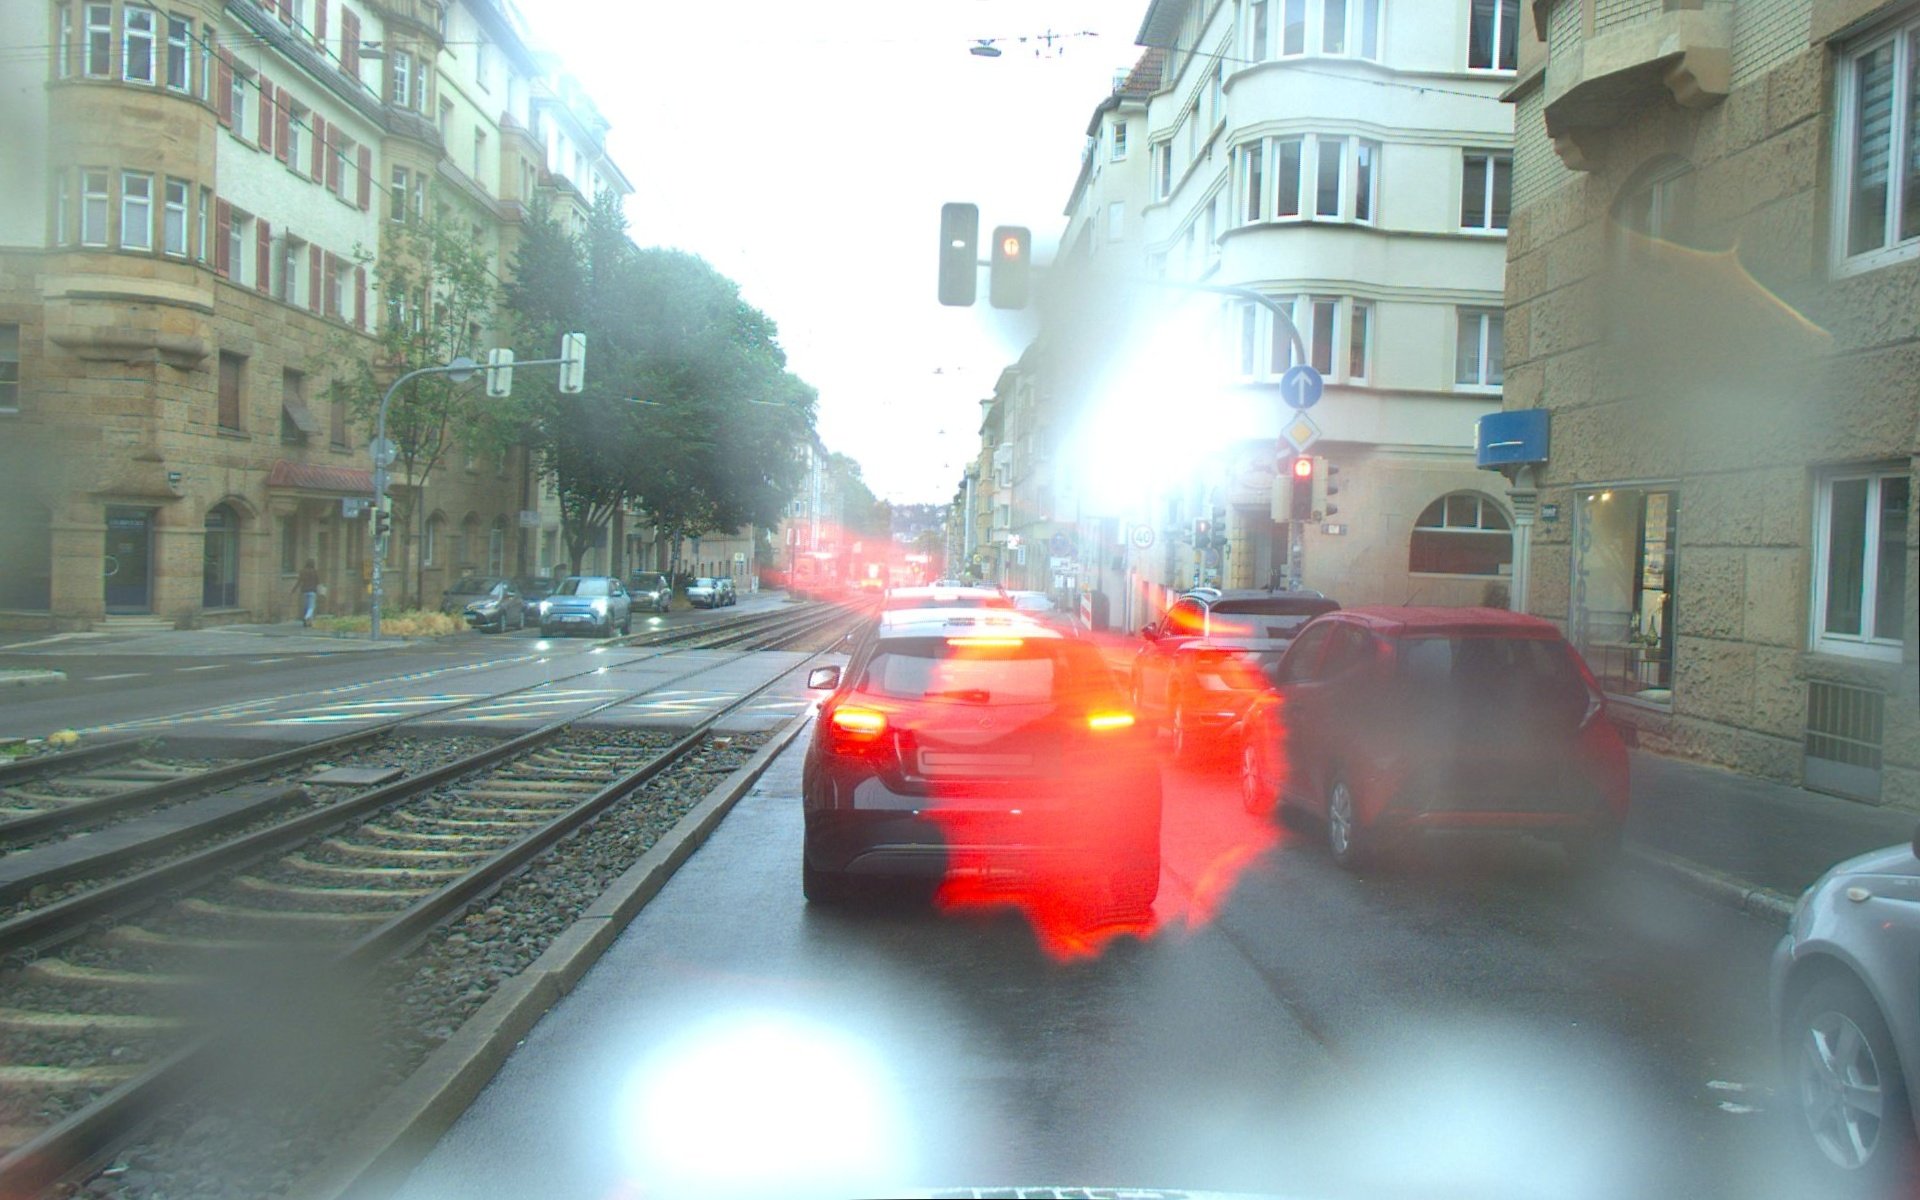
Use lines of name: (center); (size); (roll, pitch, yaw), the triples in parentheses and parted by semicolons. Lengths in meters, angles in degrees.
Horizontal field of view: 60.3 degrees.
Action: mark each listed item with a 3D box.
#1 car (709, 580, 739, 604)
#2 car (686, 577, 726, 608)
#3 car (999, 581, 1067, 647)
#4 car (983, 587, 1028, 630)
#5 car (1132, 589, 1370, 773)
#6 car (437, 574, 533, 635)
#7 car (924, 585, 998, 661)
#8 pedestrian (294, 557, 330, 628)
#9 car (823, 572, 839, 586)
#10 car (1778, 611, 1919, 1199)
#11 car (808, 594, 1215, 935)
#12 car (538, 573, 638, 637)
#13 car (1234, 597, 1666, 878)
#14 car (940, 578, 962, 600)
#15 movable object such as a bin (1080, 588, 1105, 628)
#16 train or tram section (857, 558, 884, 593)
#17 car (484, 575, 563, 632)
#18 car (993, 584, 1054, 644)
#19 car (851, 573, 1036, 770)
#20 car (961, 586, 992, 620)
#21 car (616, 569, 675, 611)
car: (-14.023, -0.445, 98.358); (1.419, 1.354, 3.270); (1, 0, -3)
car: (-13.654, -0.388, 88.953); (1.557, 1.608, 3.917); (1, 0, -1)
car: (1.846, 0.339, 42.655); (1.513, 1.618, 3.547); (1, 0, -1)
car: (1.669, 0.311, 61.537); (1.513, 1.512, 3.547); (1, 0, -1)
car: (2.640, 0.670, 15.785); (1.513, 1.512, 3.829); (1, 0, -1)
car: (-13.006, 0.130, 45.483); (1.718, 1.579, 4.032); (1, 0, -4)
car: (-0.015, 0.509, 39.018); (1.514, 1.664, 3.684); (1, 0, -3)
pedestrian: (-15.652, -0.178, 39.962); (0.619, 1.702, 0.701); (1, -1, -7)
car: (-12.220, -2.015, 157.114); (1.349, 1.271, 3.296); (1, 0, -2)
car: (3.134, 0.783, 3.090); (1.581, 1.493, 3.312); (0, 0, 0)
car: (0.201, 0.729, 9.440); (1.792, 1.483, 4.103); (1, 0, -1)
car: (-10.041, 0.144, 44.914); (1.860, 1.615, 3.972); (1, 0, -1)
car: (2.916, 0.743, 10.550); (1.609, 1.473, 3.297); (1, 0, -3)
car: (-0.802, -0.953, 150.160); (1.953, 1.909, 3.999); (1, 0, -1)
movable object such as a bin: (4.769, 0.286, 59.632); (0.859, 1.413, 0.983); (1, -1, 3)
train or tram section: (-10.605, -2.886, 197.163); (2.726, 3.928, 10.427); (1, 0, -1)
car: (-13.270, 0.111, 50.509); (1.683, 1.639, 3.914); (1, 0, -5)
car: (1.775, 0.365, 47.129); (1.513, 1.618, 3.547); (1, 0, -1)
car: (-0.167, 0.613, 15.823); (1.533, 1.637, 3.813); (1, 0, -1)
car: (0.728, 0.116, 73.595); (1.268, 1.467, 2.928); (1, 0, -1)
car: (-13.558, -0.414, 71.492); (1.837, 1.767, 3.917); (1, 0, -1)
